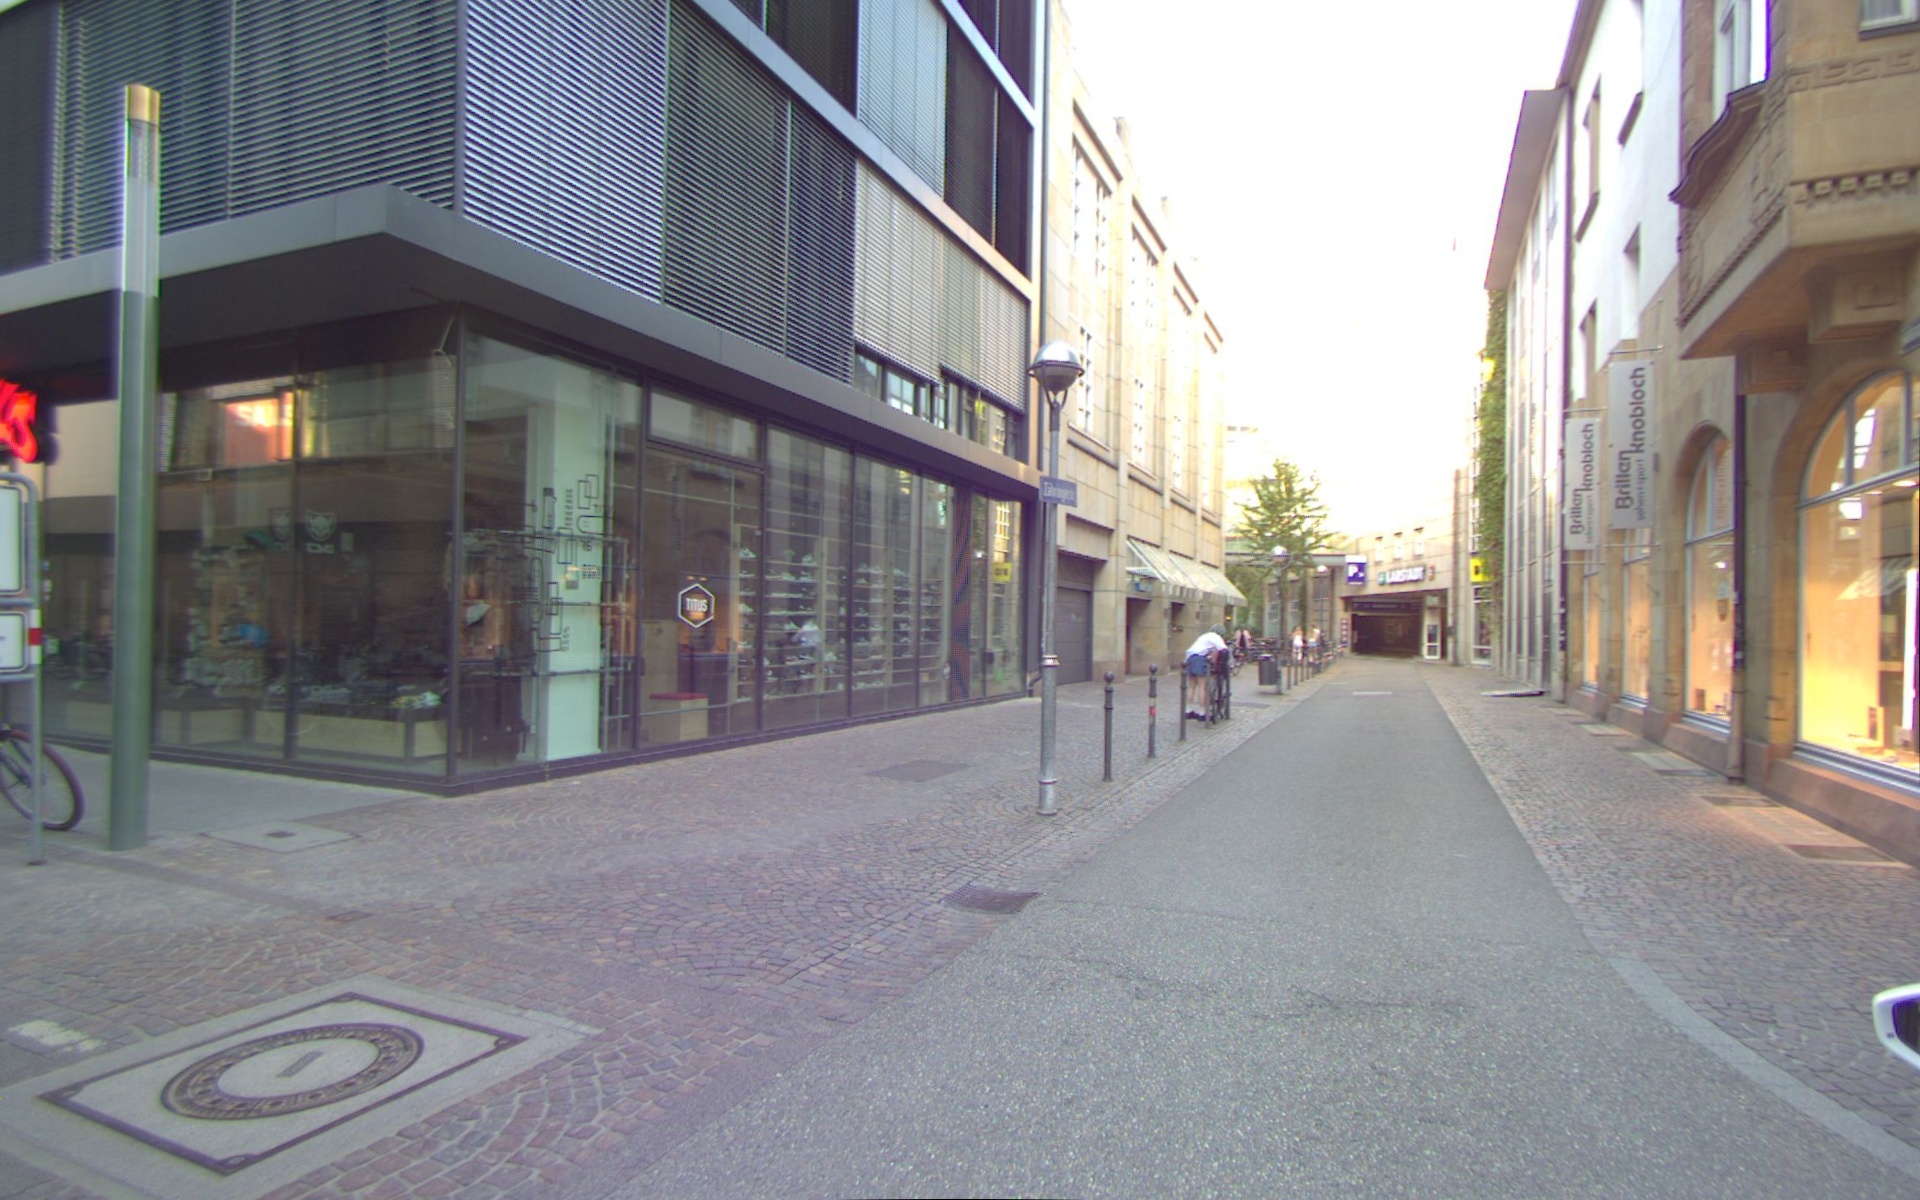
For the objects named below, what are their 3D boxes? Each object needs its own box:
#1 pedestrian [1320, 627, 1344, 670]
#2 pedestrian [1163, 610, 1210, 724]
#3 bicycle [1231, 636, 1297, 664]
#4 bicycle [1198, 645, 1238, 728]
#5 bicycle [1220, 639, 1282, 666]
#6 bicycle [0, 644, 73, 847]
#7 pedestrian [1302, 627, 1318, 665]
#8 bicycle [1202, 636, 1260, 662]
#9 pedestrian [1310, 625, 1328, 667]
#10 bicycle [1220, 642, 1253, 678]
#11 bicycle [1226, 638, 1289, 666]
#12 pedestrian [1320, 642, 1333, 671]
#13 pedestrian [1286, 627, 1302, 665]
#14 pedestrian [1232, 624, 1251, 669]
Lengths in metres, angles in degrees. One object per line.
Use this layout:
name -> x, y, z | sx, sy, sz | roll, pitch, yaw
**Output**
pedestrian -> 15.816, 2.056, 42.693 | 0.850, 1.780, 0.798 | 1, -1, 25
pedestrian -> 3.734, 1.077, 16.507 | 0.599, 1.814, 0.910 | 0, -1, 23
bicycle -> 13.501, 2.216, 44.673 | 2.710, 1.216, 0.734 | 1, -1, 6
bicycle -> 4.227, 1.365, 16.377 | 0.405, 1.248, 1.827 | 0, -1, 21
bicycle -> 13.686, 2.466, 47.233 | 2.710, 1.216, 0.734 | 1, -1, 6
bicycle -> -6.309, 0.907, 5.837 | 0.499, 1.220, 1.670 | 0, 0, 24
pedestrian -> 15.008, 1.973, 43.031 | 0.575, 1.625, 0.627 | 1, -1, 25
bicycle -> 13.330, 2.424, 49.460 | 2.710, 1.216, 0.734 | 1, -1, 6
pedestrian -> 15.708, 2.011, 43.921 | 0.620, 1.780, 0.798 | 1, -1, 25
bicycle -> 8.964, 1.922, 32.539 | 0.474, 1.095, 2.238 | 0, -2, 30
bicycle -> 13.655, 2.394, 46.143 | 2.710, 1.216, 0.734 | 1, -1, 6
pedestrian -> 15.027, 2.319, 41.172 | 0.458, 1.183, 0.521 | 1, -1, 25
pedestrian -> 14.435, 1.980, 43.425 | 0.581, 1.625, 0.665 | 1, -1, 25
pedestrian -> 11.378, 1.878, 40.604 | 0.645, 1.787, 0.617 | 1, -1, 11
